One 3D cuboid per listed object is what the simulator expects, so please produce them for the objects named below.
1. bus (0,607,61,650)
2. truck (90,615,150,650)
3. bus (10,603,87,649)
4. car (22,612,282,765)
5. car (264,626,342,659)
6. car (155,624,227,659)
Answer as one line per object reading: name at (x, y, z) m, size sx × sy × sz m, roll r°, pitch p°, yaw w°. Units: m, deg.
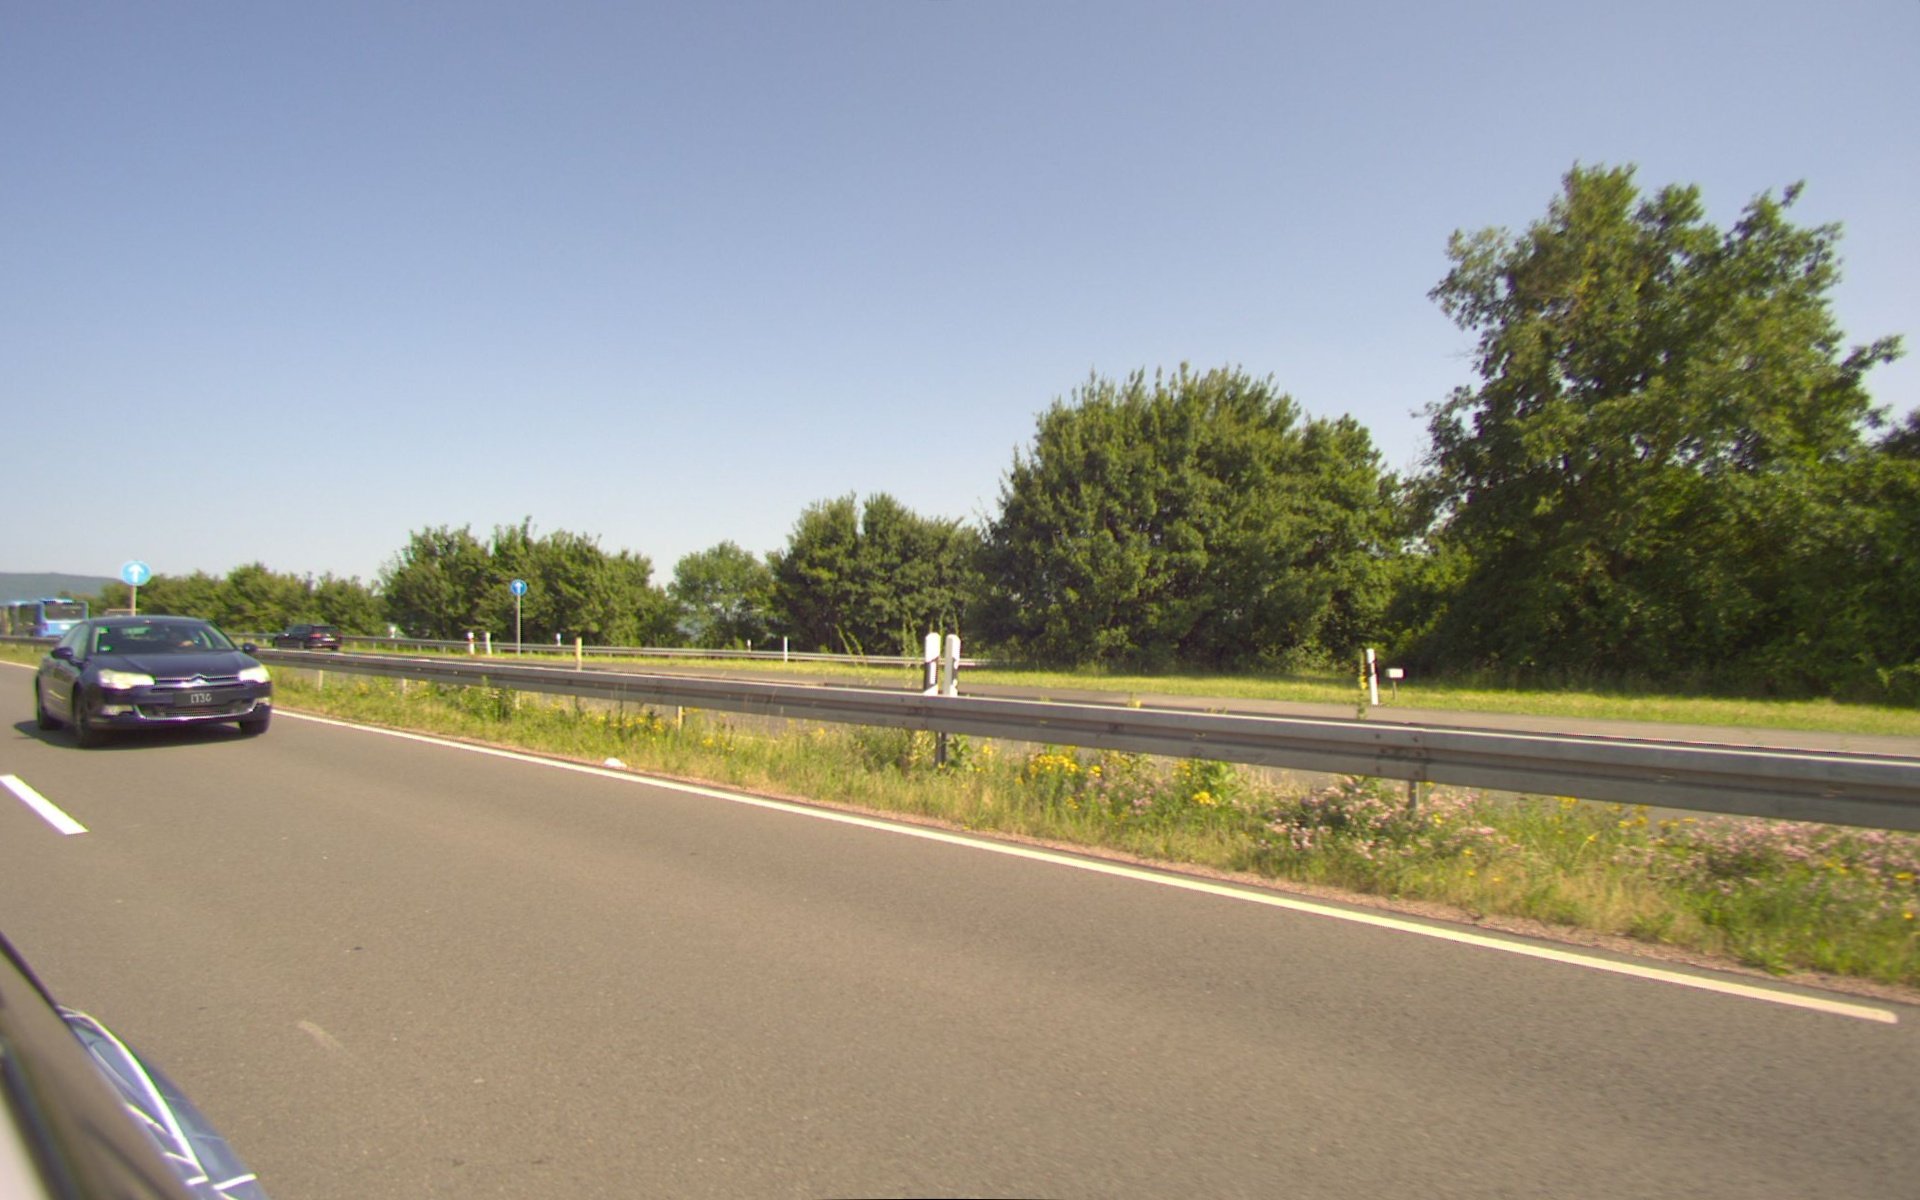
bus at (-71.608, 2.175, 77.381) m, size 9.824 × 3.134 × 2.698 m, roll -2°, pitch -2°, yaw 39°
truck at (-63.026, 2.419, 75.889) m, size 6.609 × 2.472 × 2.106 m, roll -1°, pitch -4°, yaw 39°
bus at (-64.589, 1.856, 71.647) m, size 8.384 × 3.134 × 2.698 m, roll -2°, pitch -2°, yaw 39°
car at (-10.170, 0.968, 12.610) m, size 4.372 × 1.545 × 1.765 m, roll -1°, pitch 0°, yaw 41°
car at (-35.377, 2.258, 54.485) m, size 4.739 × 1.713 × 1.819 m, roll -1°, pitch -1°, yaw 34°
car at (-38.273, 2.077, 50.347) m, size 4.270 × 1.617 × 1.973 m, roll -3°, pitch -1°, yaw 40°
